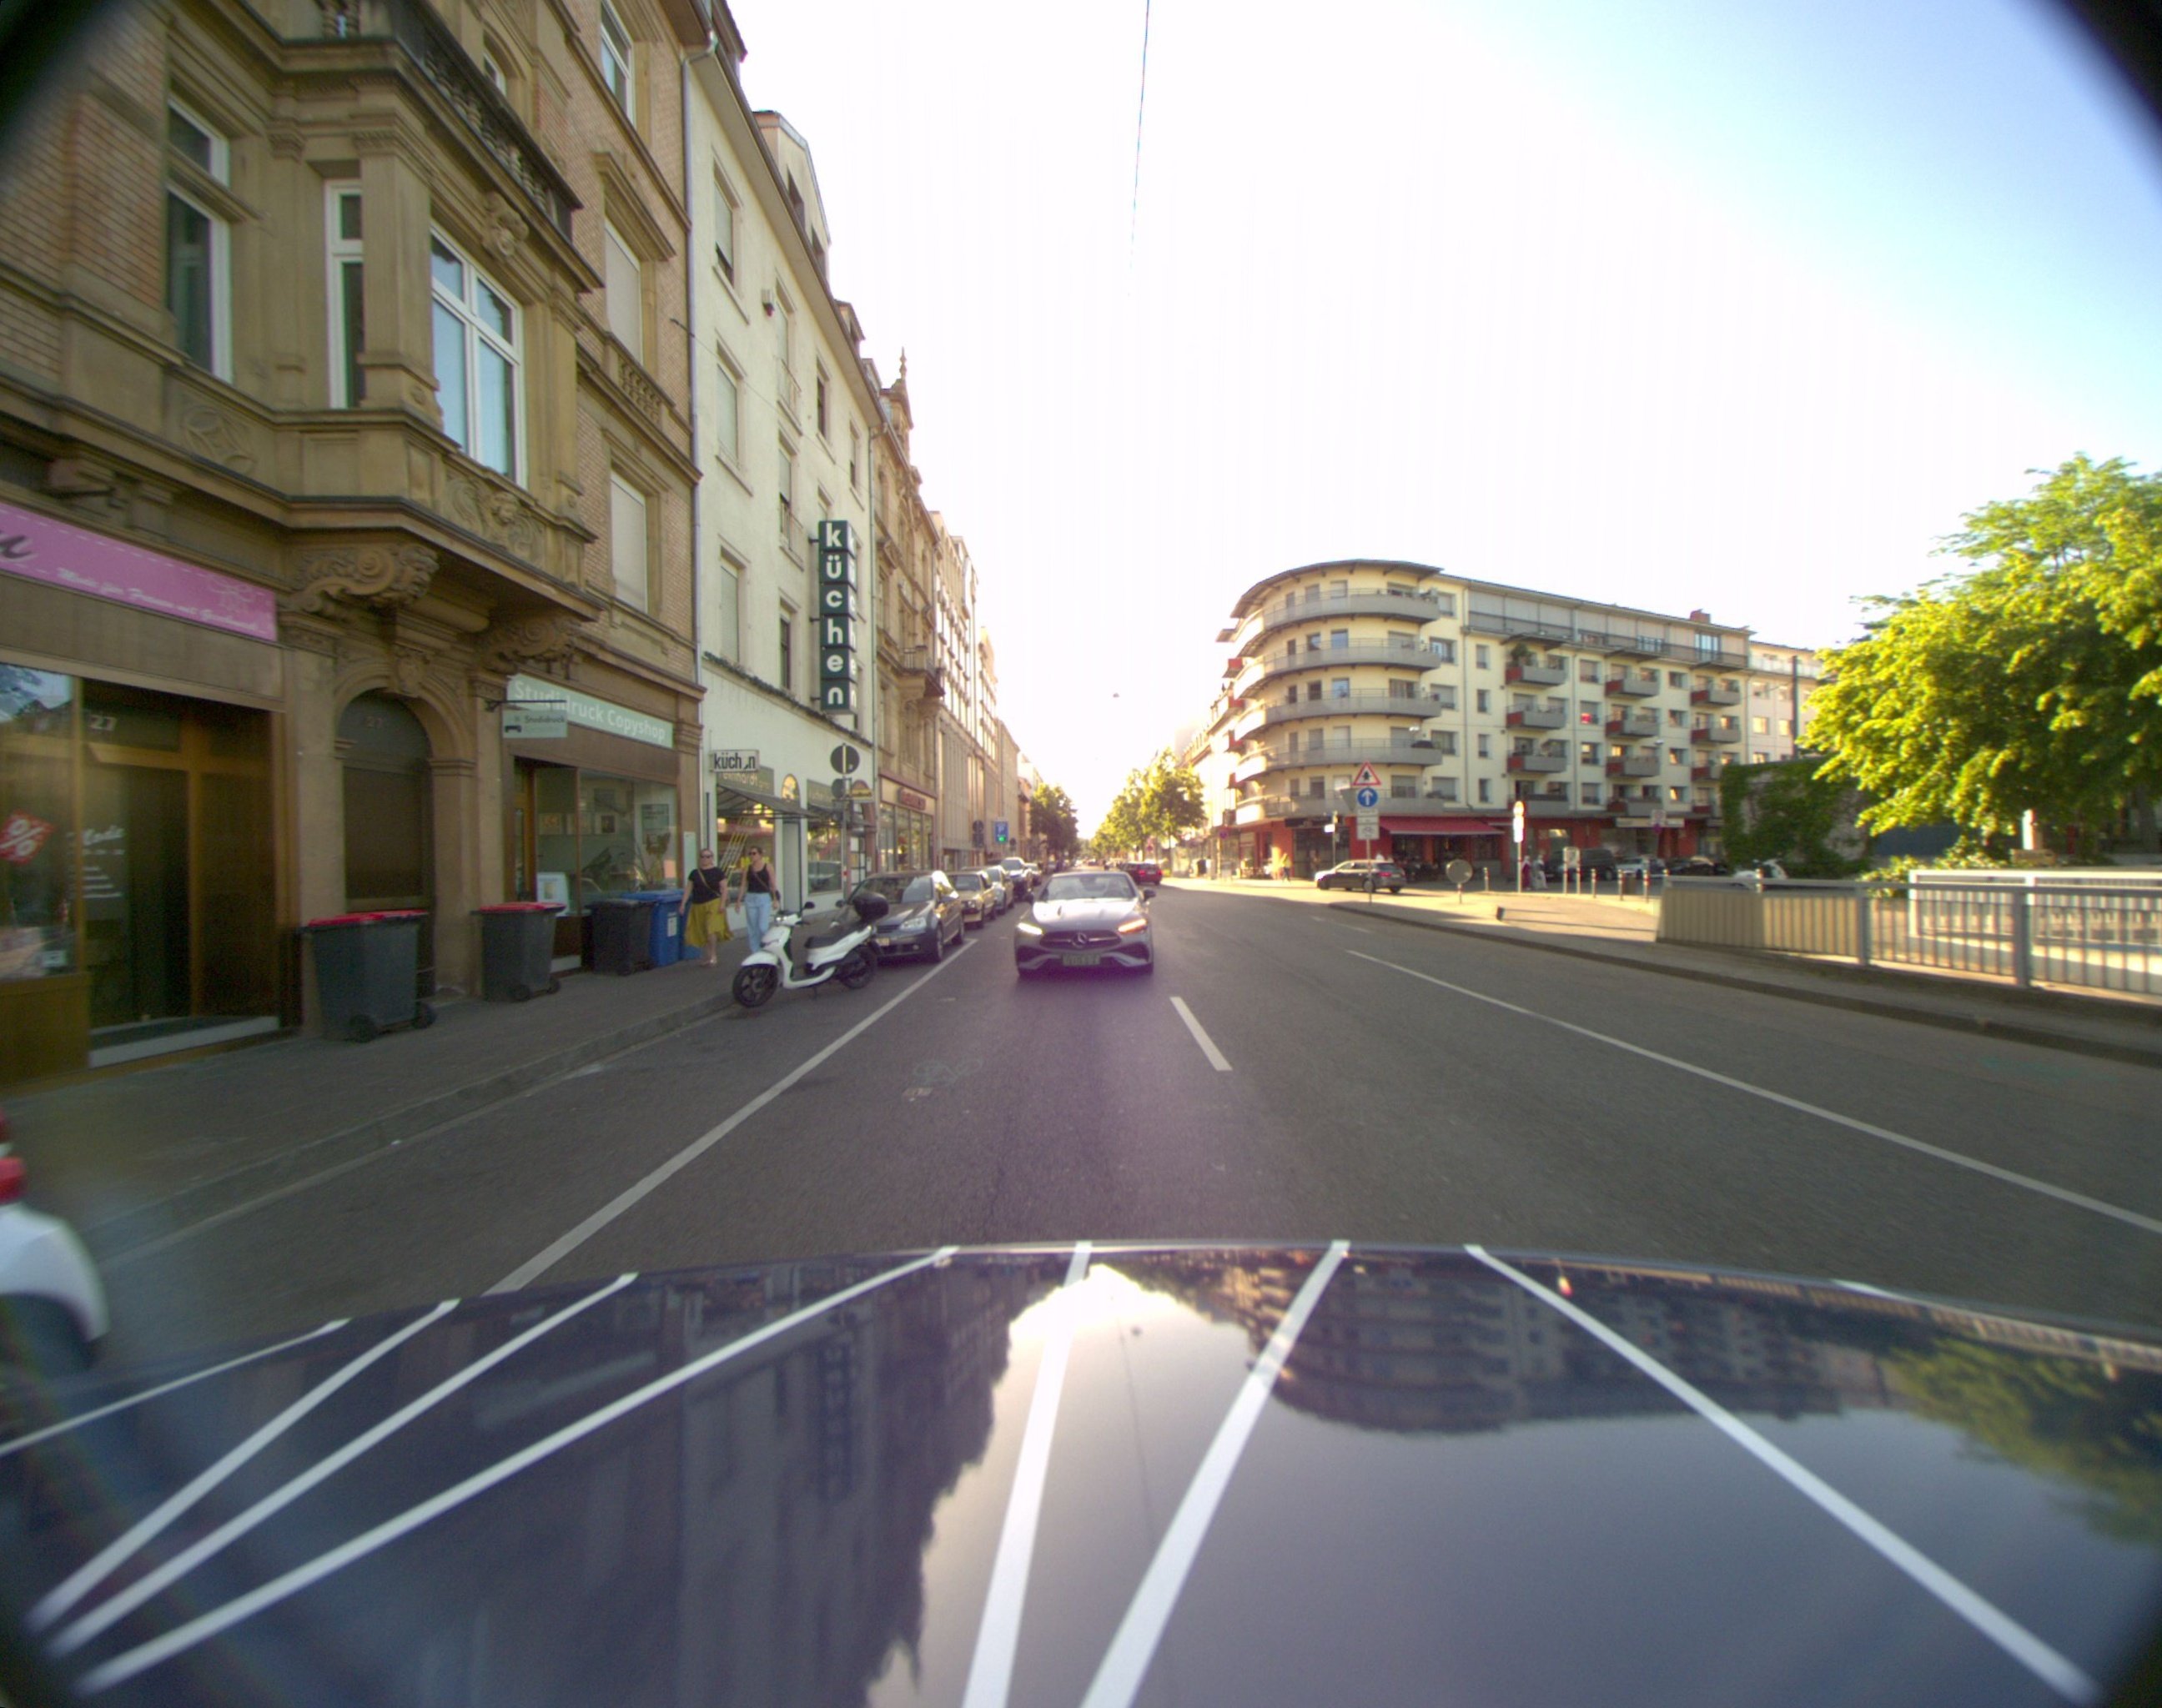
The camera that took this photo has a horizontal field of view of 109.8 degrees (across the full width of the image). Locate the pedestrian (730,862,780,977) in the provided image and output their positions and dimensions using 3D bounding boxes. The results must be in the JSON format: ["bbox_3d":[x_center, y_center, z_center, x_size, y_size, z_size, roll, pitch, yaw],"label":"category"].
[{"bbox_3d":[-4.748,0.932,11.074,0.515,1.623,0.414,-2,0,-8],"label":"pedestrian"}]

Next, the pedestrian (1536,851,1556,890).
[{"bbox_3d":[21.567,0.769,35.247,0.602,1.782,0.581,-3,1,-40],"label":"pedestrian"}]

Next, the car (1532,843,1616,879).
[{"bbox_3d":[29.046,0.395,44.780,4.431,1.901,1.952,-2,0,-23],"label":"car"}]

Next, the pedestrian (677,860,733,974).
[{"bbox_3d":[-5.462,0.894,11.056,0.619,1.623,0.462,0,0,-9],"label":"pedestrian"}]

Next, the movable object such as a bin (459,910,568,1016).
[{"bbox_3d":[-6.223,1.183,8.363,0.716,1.065,0.619,1,0,1],"label":"movable object such as a bin"}]

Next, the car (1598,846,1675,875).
[{"bbox_3d":[34.477,0.405,47.162,4.300,1.611,1.952,-2,0,-23],"label":"car"}]

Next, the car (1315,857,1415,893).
[{"bbox_3d":[12.385,0.897,33.396,1.810,1.388,3.918,-2,0,-27],"label":"car"}]

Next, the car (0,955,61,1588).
[{"bbox_3d":[-3.264,1.028,0.526,1.275,1.509,2.795,-2,0,0],"label":"car"}]

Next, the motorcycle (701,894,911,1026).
[{"bbox_3d":[-3.257,1.185,9.158,2.178,1.272,0.866,-2,0,-41],"label":"motorcycle"}]

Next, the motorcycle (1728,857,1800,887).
[{"bbox_3d":[26.288,0.695,29.271,1.927,1.096,0.682,-2,0,23],"label":"motorcycle"}]

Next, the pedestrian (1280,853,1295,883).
[{"bbox_3d":[11.602,0.788,42.768,0.570,1.612,0.793,-2,0,-3],"label":"pedestrian"}]

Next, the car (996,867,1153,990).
[{"bbox_3d":[0.114,0.989,11.789,1.847,1.440,4.375,-2,0,7],"label":"car"}]

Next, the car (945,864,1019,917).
[{"bbox_3d":[-2.993,1.079,23.686,1.737,1.408,3.802,-2,0,1],"label":"car"}]

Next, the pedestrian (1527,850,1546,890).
[{"bbox_3d":[20.997,0.745,35.007,0.602,1.782,0.581,-3,1,-45],"label":"pedestrian"}]

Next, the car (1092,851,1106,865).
[{"bbox_3d":[2.803,0.620,116.929,1.998,2.002,4.000,-2,0,1],"label":"car"}]

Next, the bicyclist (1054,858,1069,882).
[{"bbox_3d":[-1.185,0.961,46.053,0.798,1.426,1.008,-2,0,0],"label":"bicyclist"}]

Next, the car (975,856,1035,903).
[{"bbox_3d":[-2.961,0.944,30.317,1.895,1.680,4.049,-2,0,1],"label":"car"}]

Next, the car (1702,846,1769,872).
[{"bbox_3d":[44.502,0.326,51.658,3.939,1.611,1.788,-2,0,-22],"label":"car"}]

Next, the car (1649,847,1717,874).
[{"bbox_3d":[39.344,0.441,49.636,3.940,1.611,1.788,-2,0,-23],"label":"car"}]

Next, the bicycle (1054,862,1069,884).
[{"bbox_3d":[-1.179,1.132,46.107,0.798,1.225,1.774,-2,0,1],"label":"bicycle"}]

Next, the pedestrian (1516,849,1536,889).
[{"bbox_3d":[20.349,0.683,34.743,0.602,1.782,0.581,-3,1,-45],"label":"pedestrian"}]

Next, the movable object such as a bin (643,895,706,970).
[{"bbox_3d":[-6.198,1.180,11.607,0.606,1.067,0.619,1,0,1],"label":"movable object such as a bin"}]

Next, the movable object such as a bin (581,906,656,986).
[{"bbox_3d":[-6.235,1.227,10.265,0.606,0.986,0.619,1,0,1],"label":"movable object such as a bin"}]

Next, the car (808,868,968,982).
[{"bbox_3d":[-3.096,1.057,13.040,1.737,1.509,4.164,-2,0,-2],"label":"car"}]

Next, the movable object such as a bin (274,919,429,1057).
[{"bbox_3d":[-6.245,1.127,6.536,0.716,1.065,0.619,1,0,1],"label":"movable object such as a bin"}]

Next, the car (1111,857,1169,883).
[{"bbox_3d":[3.466,0.949,45.552,1.898,1.388,4.249,-2,0,-19],"label":"car"}]

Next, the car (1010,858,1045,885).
[{"bbox_3d":[-3.444,1.102,49.515,1.895,1.595,4.049,-2,0,1],"label":"car"}]

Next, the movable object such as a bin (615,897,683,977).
[{"bbox_3d":[-6.208,1.178,10.948,0.606,1.067,0.619,1,0,1],"label":"movable object such as a bin"}]

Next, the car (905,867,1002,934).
[{"bbox_3d":[-3.098,1.087,19.220,1.737,1.408,3.802,-2,0,1],"label":"car"}]
